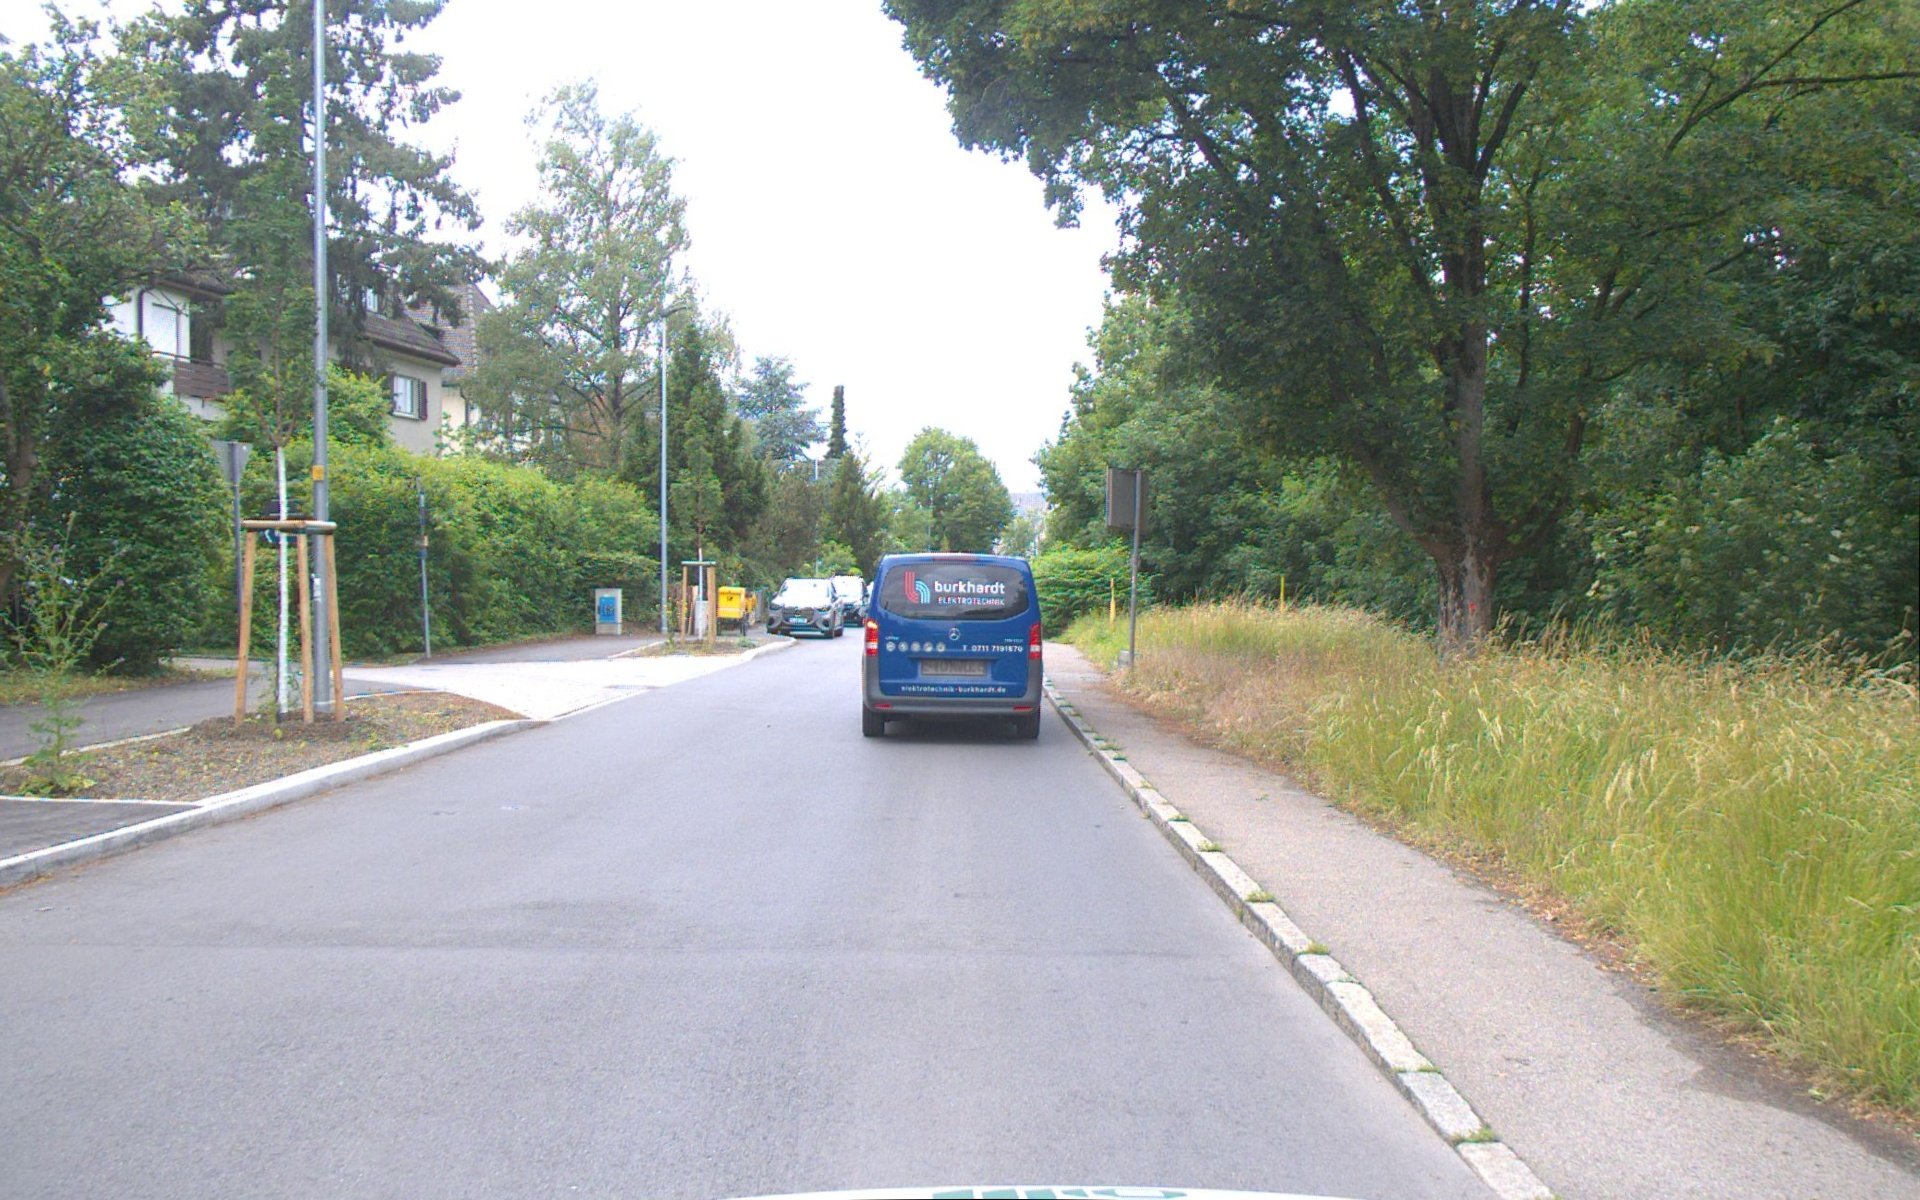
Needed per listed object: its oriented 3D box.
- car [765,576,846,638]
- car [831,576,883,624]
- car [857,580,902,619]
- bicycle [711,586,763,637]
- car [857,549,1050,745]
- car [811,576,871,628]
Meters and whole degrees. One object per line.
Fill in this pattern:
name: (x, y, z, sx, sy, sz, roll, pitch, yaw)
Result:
car: (-4.366, 0.177, 47.257, 1.798, 1.659, 4.301, 2, 0, 1)
car: (-4.102, 0.025, 66.326, 1.794, 1.836, 3.999, 1, 0, 0)
car: (-3.956, -0.034, 81.806, 1.853, 1.721, 4.550, 2, 2, 1)
bicycle: (-5.957, 0.293, 44.330, 0.887, 1.273, 2.916, 2, 0, 1)
car: (-0.176, 0.398, 18.084, 1.851, 1.876, 3.998, 1, 2, -4)
car: (-4.285, 0.037, 60.160, 1.794, 1.782, 4.001, 2, 1, 1)
